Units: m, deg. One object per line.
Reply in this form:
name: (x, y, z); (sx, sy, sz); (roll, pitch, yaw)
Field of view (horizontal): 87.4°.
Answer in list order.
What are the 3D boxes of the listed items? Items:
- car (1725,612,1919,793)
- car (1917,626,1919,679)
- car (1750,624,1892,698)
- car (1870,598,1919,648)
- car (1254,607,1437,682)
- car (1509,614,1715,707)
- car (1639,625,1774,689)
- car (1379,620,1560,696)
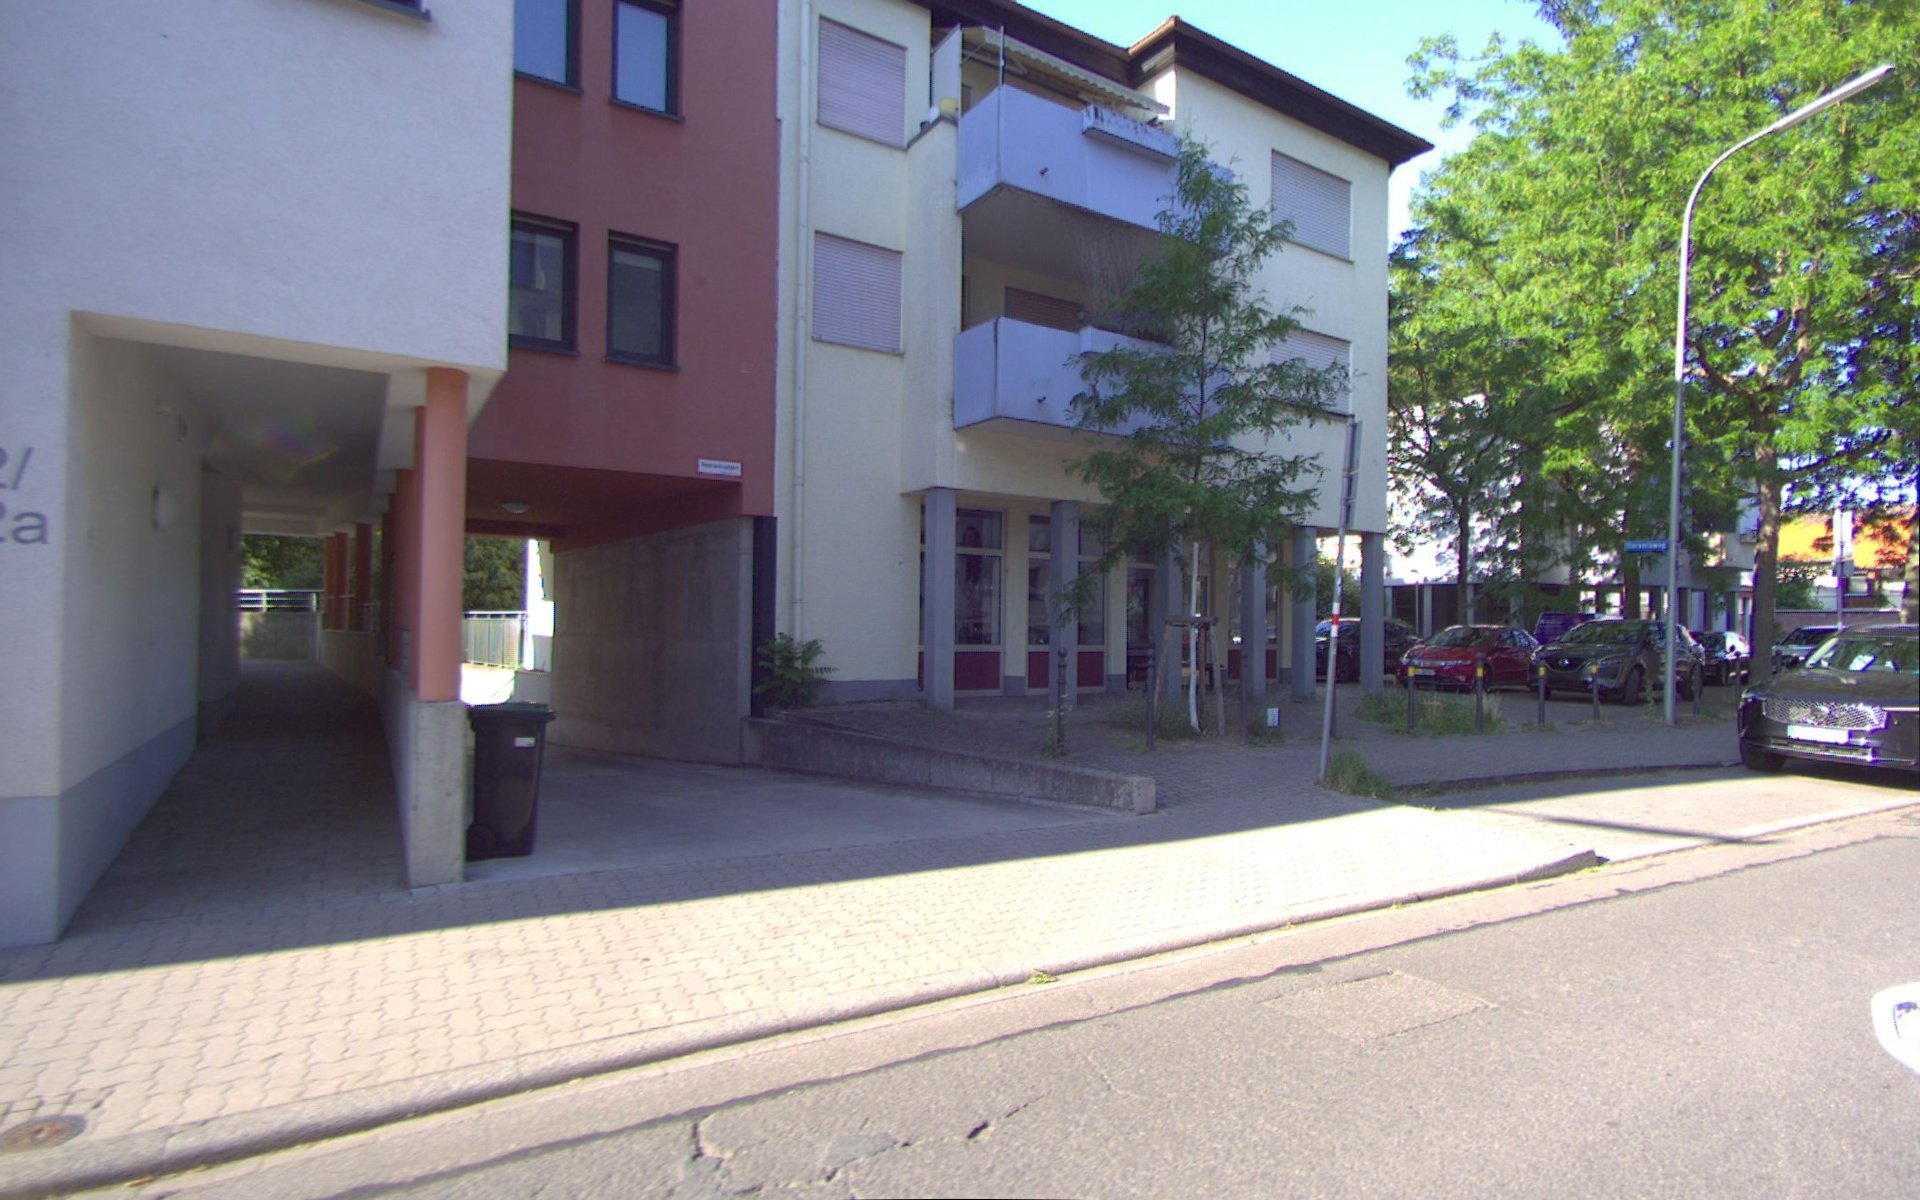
car: (11.278, 1.091, 11.988); (4.553, 1.815, 1.844); (1, -1, -31)
car: (30.483, 1.583, 28.943); (1.685, 1.596, 3.892); (1, -1, -23)
car: (22.512, 1.540, 26.239); (3.923, 1.712, 1.779); (1, 1, -33)
car: (31.895, 0.744, 32.053); (1.687, 1.596, 3.888); (1, -1, -26)
car: (9.424, 1.045, 24.448); (4.572, 1.608, 1.846); (1, 1, -34)
car: (13.140, 1.149, 20.161); (4.574, 1.608, 1.845); (1, 1, -35)
car: (21.001, 1.556, 28.237); (3.631, 1.608, 1.847); (1, 1, -32)
car: (11.174, 1.213, 21.958); (4.099, 1.468, 1.708); (1, 1, -34)
